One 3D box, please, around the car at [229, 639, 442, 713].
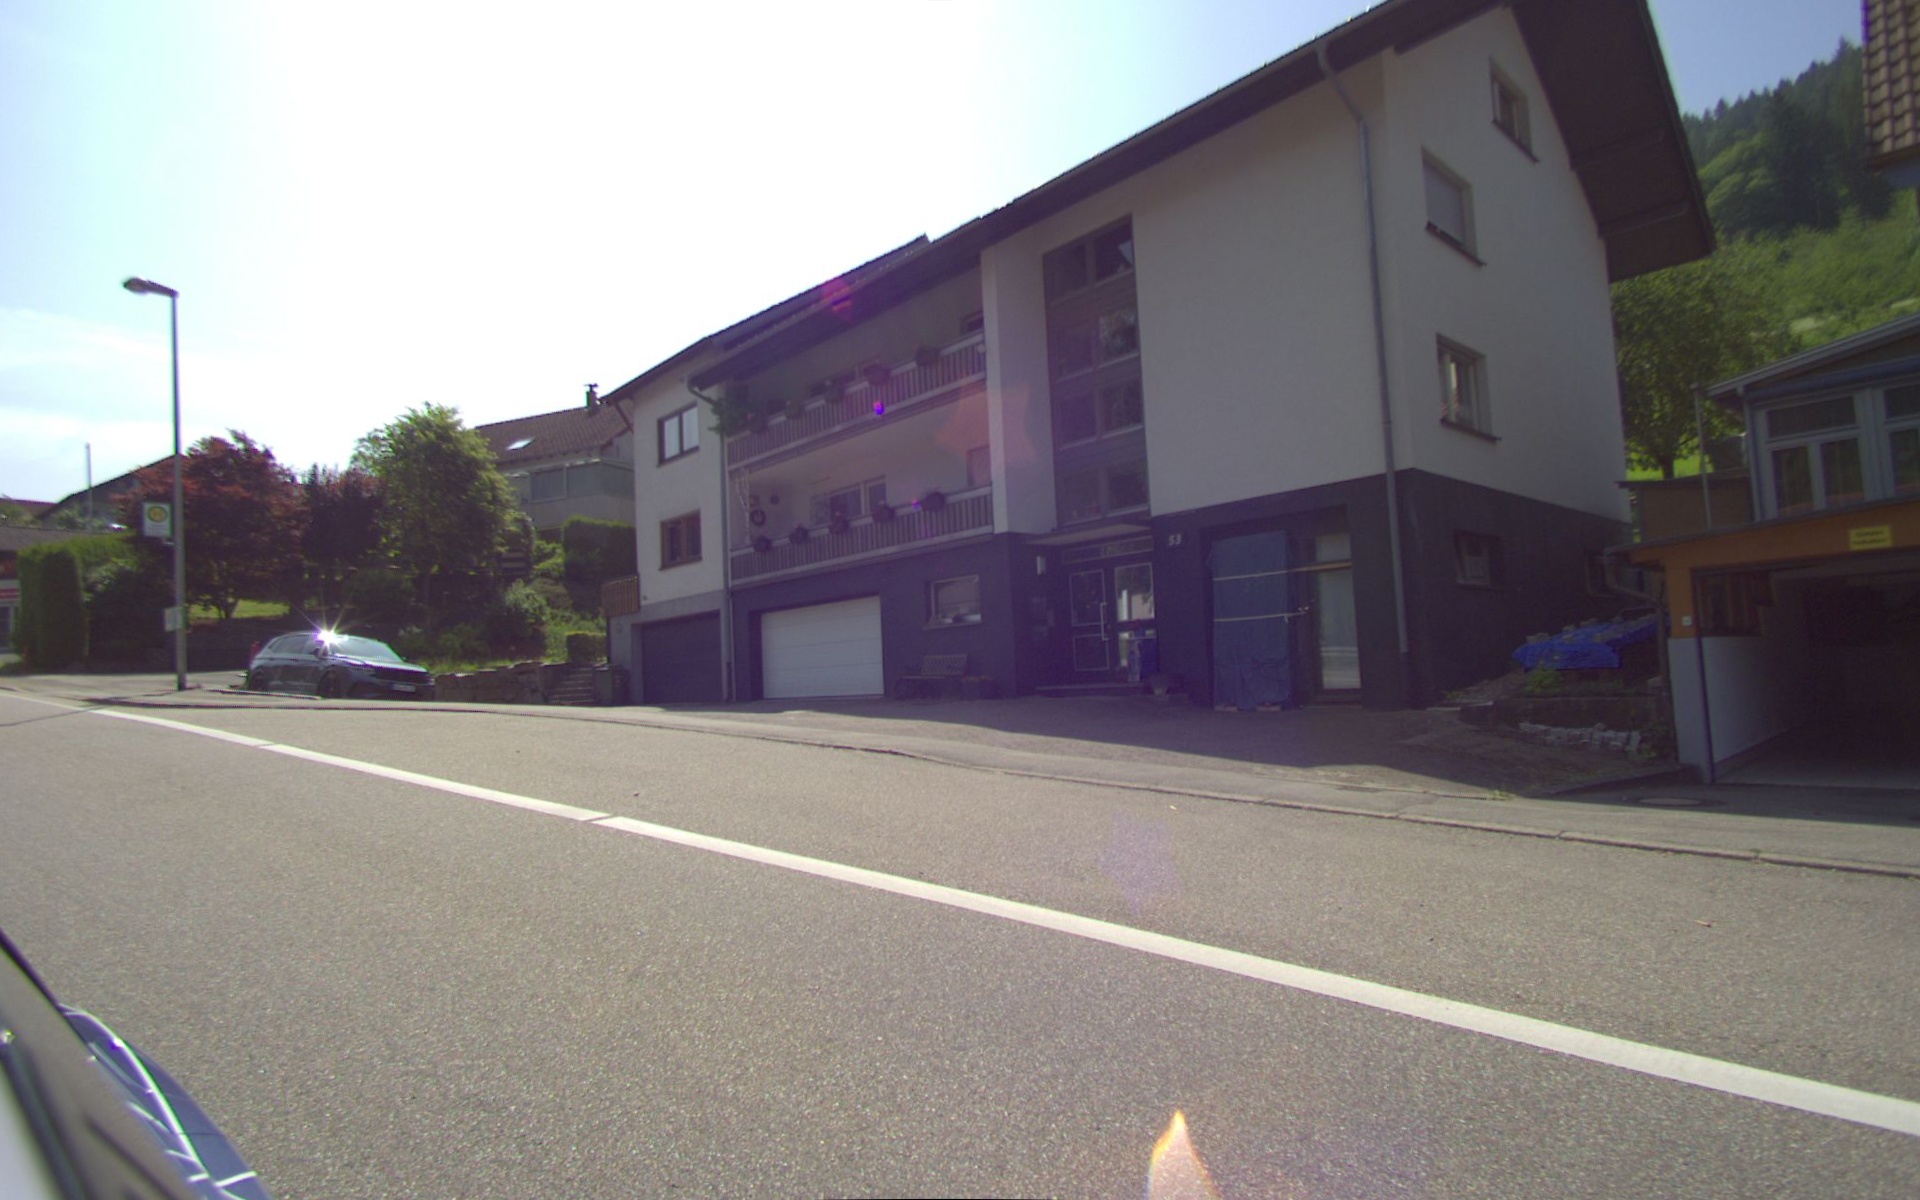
[{"bbox_3d":[-12.647,1.457,20.418,4.680,1.349,1.768,-1,-3,32],"label":"car"}]
